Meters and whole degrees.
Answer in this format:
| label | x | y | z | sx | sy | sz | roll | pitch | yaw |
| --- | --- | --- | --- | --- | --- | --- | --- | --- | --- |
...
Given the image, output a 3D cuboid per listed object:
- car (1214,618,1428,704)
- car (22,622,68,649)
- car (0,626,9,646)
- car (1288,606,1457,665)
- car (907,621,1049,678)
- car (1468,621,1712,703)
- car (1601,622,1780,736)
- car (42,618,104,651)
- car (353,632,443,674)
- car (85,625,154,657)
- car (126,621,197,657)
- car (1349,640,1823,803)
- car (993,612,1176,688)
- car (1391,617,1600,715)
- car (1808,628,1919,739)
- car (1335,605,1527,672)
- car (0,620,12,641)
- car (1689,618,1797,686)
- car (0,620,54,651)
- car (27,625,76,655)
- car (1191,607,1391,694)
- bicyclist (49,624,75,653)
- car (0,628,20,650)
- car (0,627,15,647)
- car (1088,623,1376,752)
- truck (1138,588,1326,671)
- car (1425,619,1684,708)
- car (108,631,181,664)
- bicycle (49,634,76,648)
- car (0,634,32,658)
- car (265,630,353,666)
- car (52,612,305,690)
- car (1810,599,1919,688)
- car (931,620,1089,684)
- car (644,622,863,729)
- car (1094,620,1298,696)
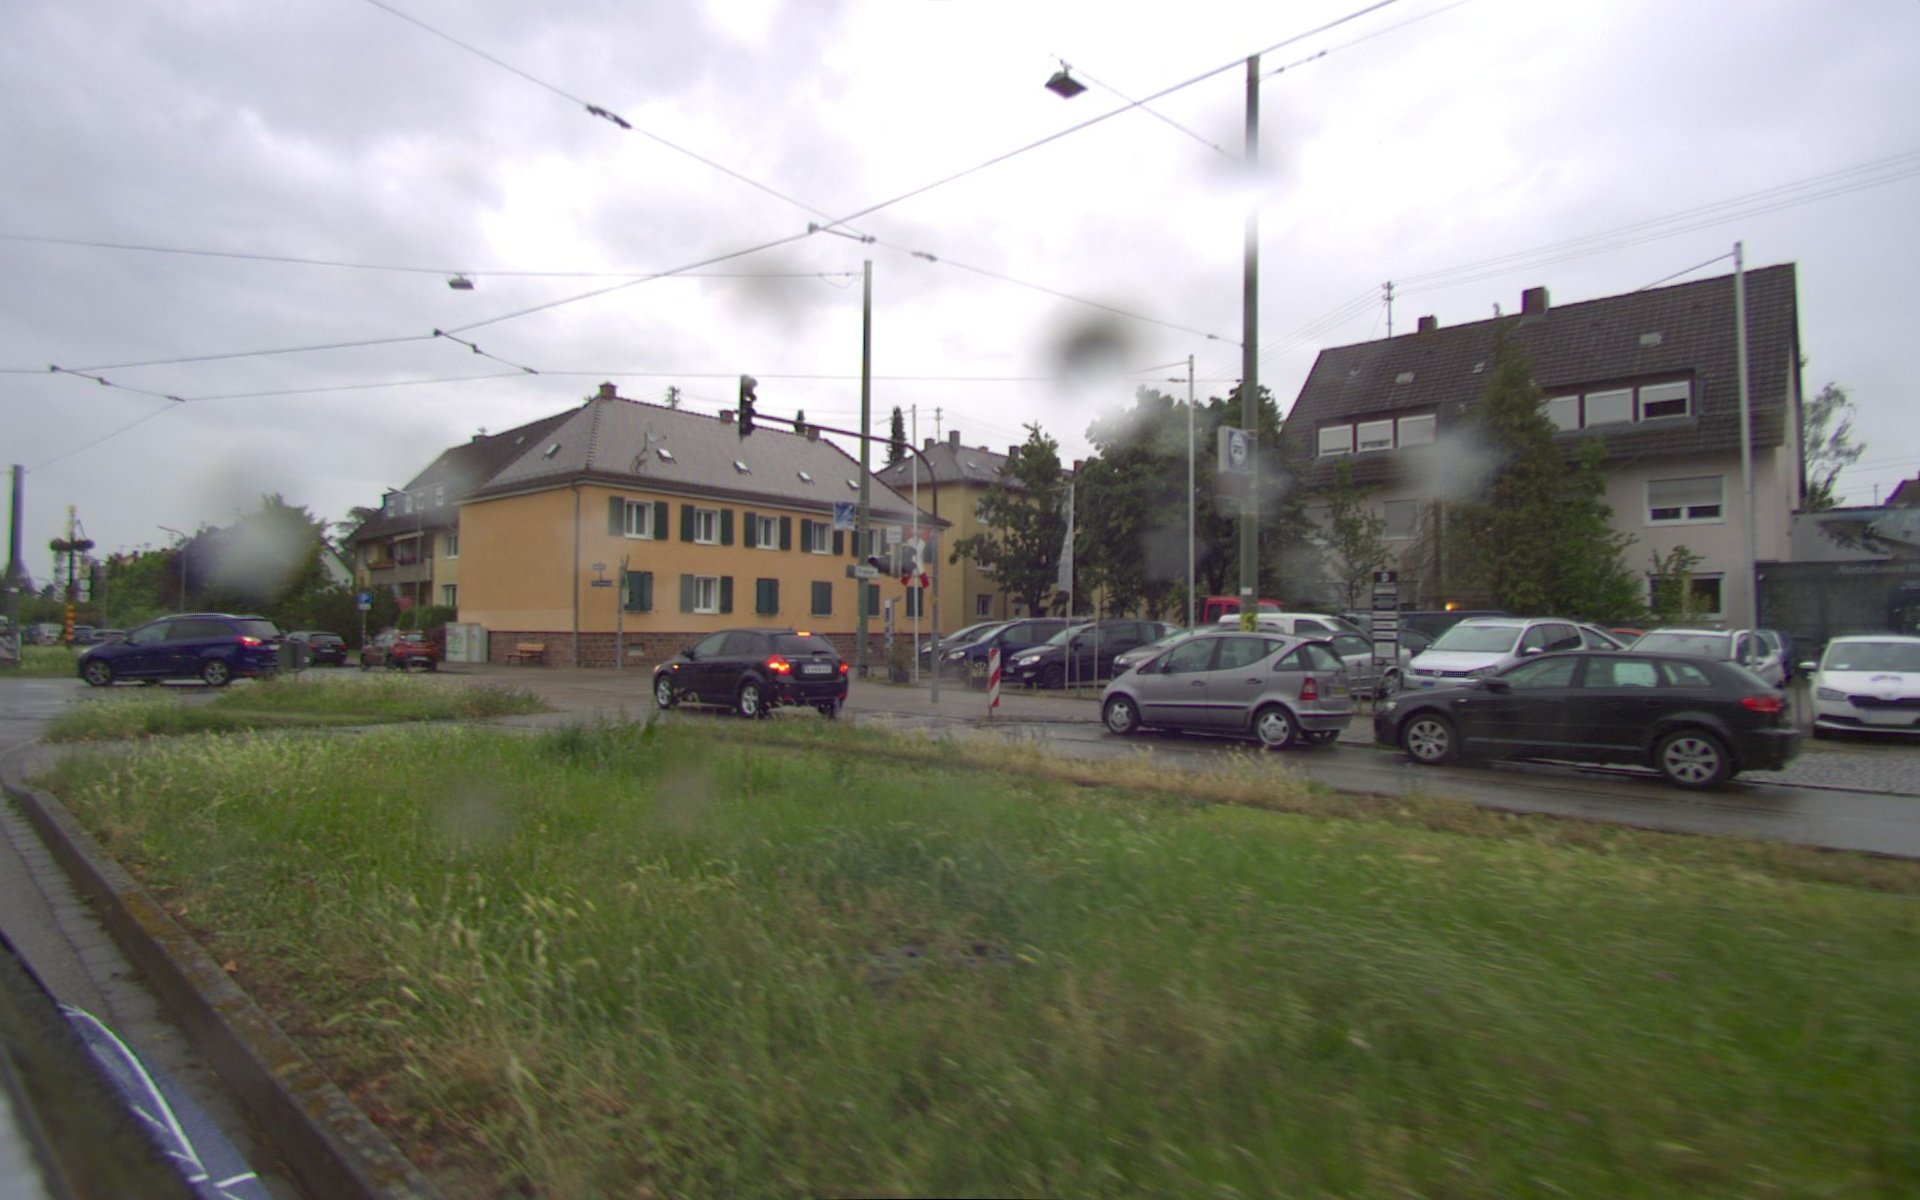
| label | x | y | z | sx | sy | sz | roll | pitch | yaw |
| --- | --- | --- | --- | --- | --- | --- | --- | --- | --- |
| car | 7.204 | 1.189 | 20.141 | 3.989 | 1.516 | 1.839 | 2 | -1 | -30 |
| car | -66.975 | 2.572 | 74.067 | 3.998 | 1.807 | 1.973 | 1 | -1 | 41 |
| car | -95.894 | 3.579 | 100.344 | 3.998 | 1.807 | 1.973 | 1 | -1 | 41 |
| car | 12.665 | 1.106 | 31.257 | 1.971 | 1.700 | 4.449 | 3 | -4 | -45 |
| car | 0.501 | 1.431 | 29.623 | 3.806 | 1.591 | 1.812 | 0 | -3 | -15 |
| car | 14.414 | 1.383 | 23.339 | 1.971 | 1.700 | 4.449 | 3 | -4 | -45 |
| car | 11.840 | 1.192 | 16.327 | 3.563 | 1.585 | 1.724 | 2 | -1 | -44 |
| car | -53.627 | 2.056 | 61.174 | 3.992 | 1.807 | 1.976 | 1 | -1 | 36 |
| car | -20.460 | 1.891 | 36.799 | 3.614 | 1.349 | 1.700 | 1 | -1 | 40 |
| car | -47.834 | 2.294 | 57.555 | 4.117 | 1.586 | 1.976 | 1 | -1 | 35 |
| car | -43.476 | 2.091 | 55.091 | 3.992 | 1.807 | 1.976 | 1 | -1 | 36 |
| car | 7.021 | 1.227 | 11.711 | 1.697 | 1.349 | 4.392 | 2 | -1 | -44 |
| car | 2.988 | 1.215 | 24.585 | 3.932 | 1.730 | 2.005 | 1 | -3 | -15 |
| car | 9.719 | 1.145 | 18.305 | 3.808 | 1.591 | 1.812 | 2 | -3 | -36 |
| car | 13.730 | 1.162 | 14.761 | 3.785 | 1.406 | 1.724 | 2 | -1 | -44 |
| car | 13.007 | 1.082 | 28.149 | 1.971 | 1.700 | 4.449 | 3 | -4 | -45 |
| car | -100.582 | 3.200 | 105.700 | 4.001 | 2.049 | 1.971 | 1 | -1 | 43 |
| car | 20.049 | 1.270 | 25.871 | 1.999 | 1.577 | 3.841 | 0 | -1 | 41 |
| car | -46.682 | 1.764 | 50.292 | 3.998 | 1.487 | 1.972 | -2 | -3 | 41 |
| car | -61.594 | 2.684 | 68.590 | 3.998 | 1.807 | 1.973 | 1 | -1 | 41 |
| car | 8.365 | 1.272 | 25.828 | 1.971 | 2.029 | 4.449 | 3 | -4 | -45 |
| bicyclist | -50.242 | 2.158 | 56.646 | 1.042 | 1.610 | 0.936 | -3 | -3 | 41 |
| car | -88.049 | 3.549 | 93.033 | 3.998 | 1.807 | 1.973 | 1 | -1 | 41 |
| car | -91.502 | 3.525 | 96.283 | 3.998 | 1.708 | 1.920 | 1 | -1 | 41 |
| car | 3.872 | 1.154 | 14.664 | 3.642 | 1.516 | 1.699 | 1 | -1 | 41 |
| truck | 8.182 | 0.961 | 31.224 | 1.965 | 2.289 | 6.122 | 2 | -3 | -28 |
| car | 12.552 | 1.312 | 21.584 | 1.734 | 1.700 | 4.449 | 3 | -4 | -45 |
| car | -37.897 | 2.185 | 47.029 | 3.998 | 1.487 | 1.972 | -2 | -3 | 41 |
| bicycle | -50.225 | 2.300 | 56.620 | 1.819 | 0.792 | 0.929 | -3 | -3 | 41 |
| car | -79.100 | 3.807 | 84.467 | 3.998 | 1.807 | 1.973 | 1 | -1 | 41 |
| car | -27.475 | 2.005 | 42.669 | 4.503 | 1.407 | 1.940 | -1 | -2 | 41 |
| car | -18.445 | 1.174 | 24.040 | 4.511 | 1.617 | 1.999 | 2 | -1 | 2 |
| car | 21.713 | 0.961 | 24.185 | 2.000 | 1.793 | 3.557 | 1 | 3 | 42 |
| car | 1.292 | 1.361 | 26.830 | 3.806 | 1.591 | 1.812 | 0 | -3 | -15 |
| car | -3.643 | 1.207 | 17.439 | 4.002 | 1.497 | 1.717 | 1 | -1 | 44 |
| car | 5.190 | 1.269 | 22.351 | 3.988 | 1.516 | 1.839 | 2 | -1 | -19 |
